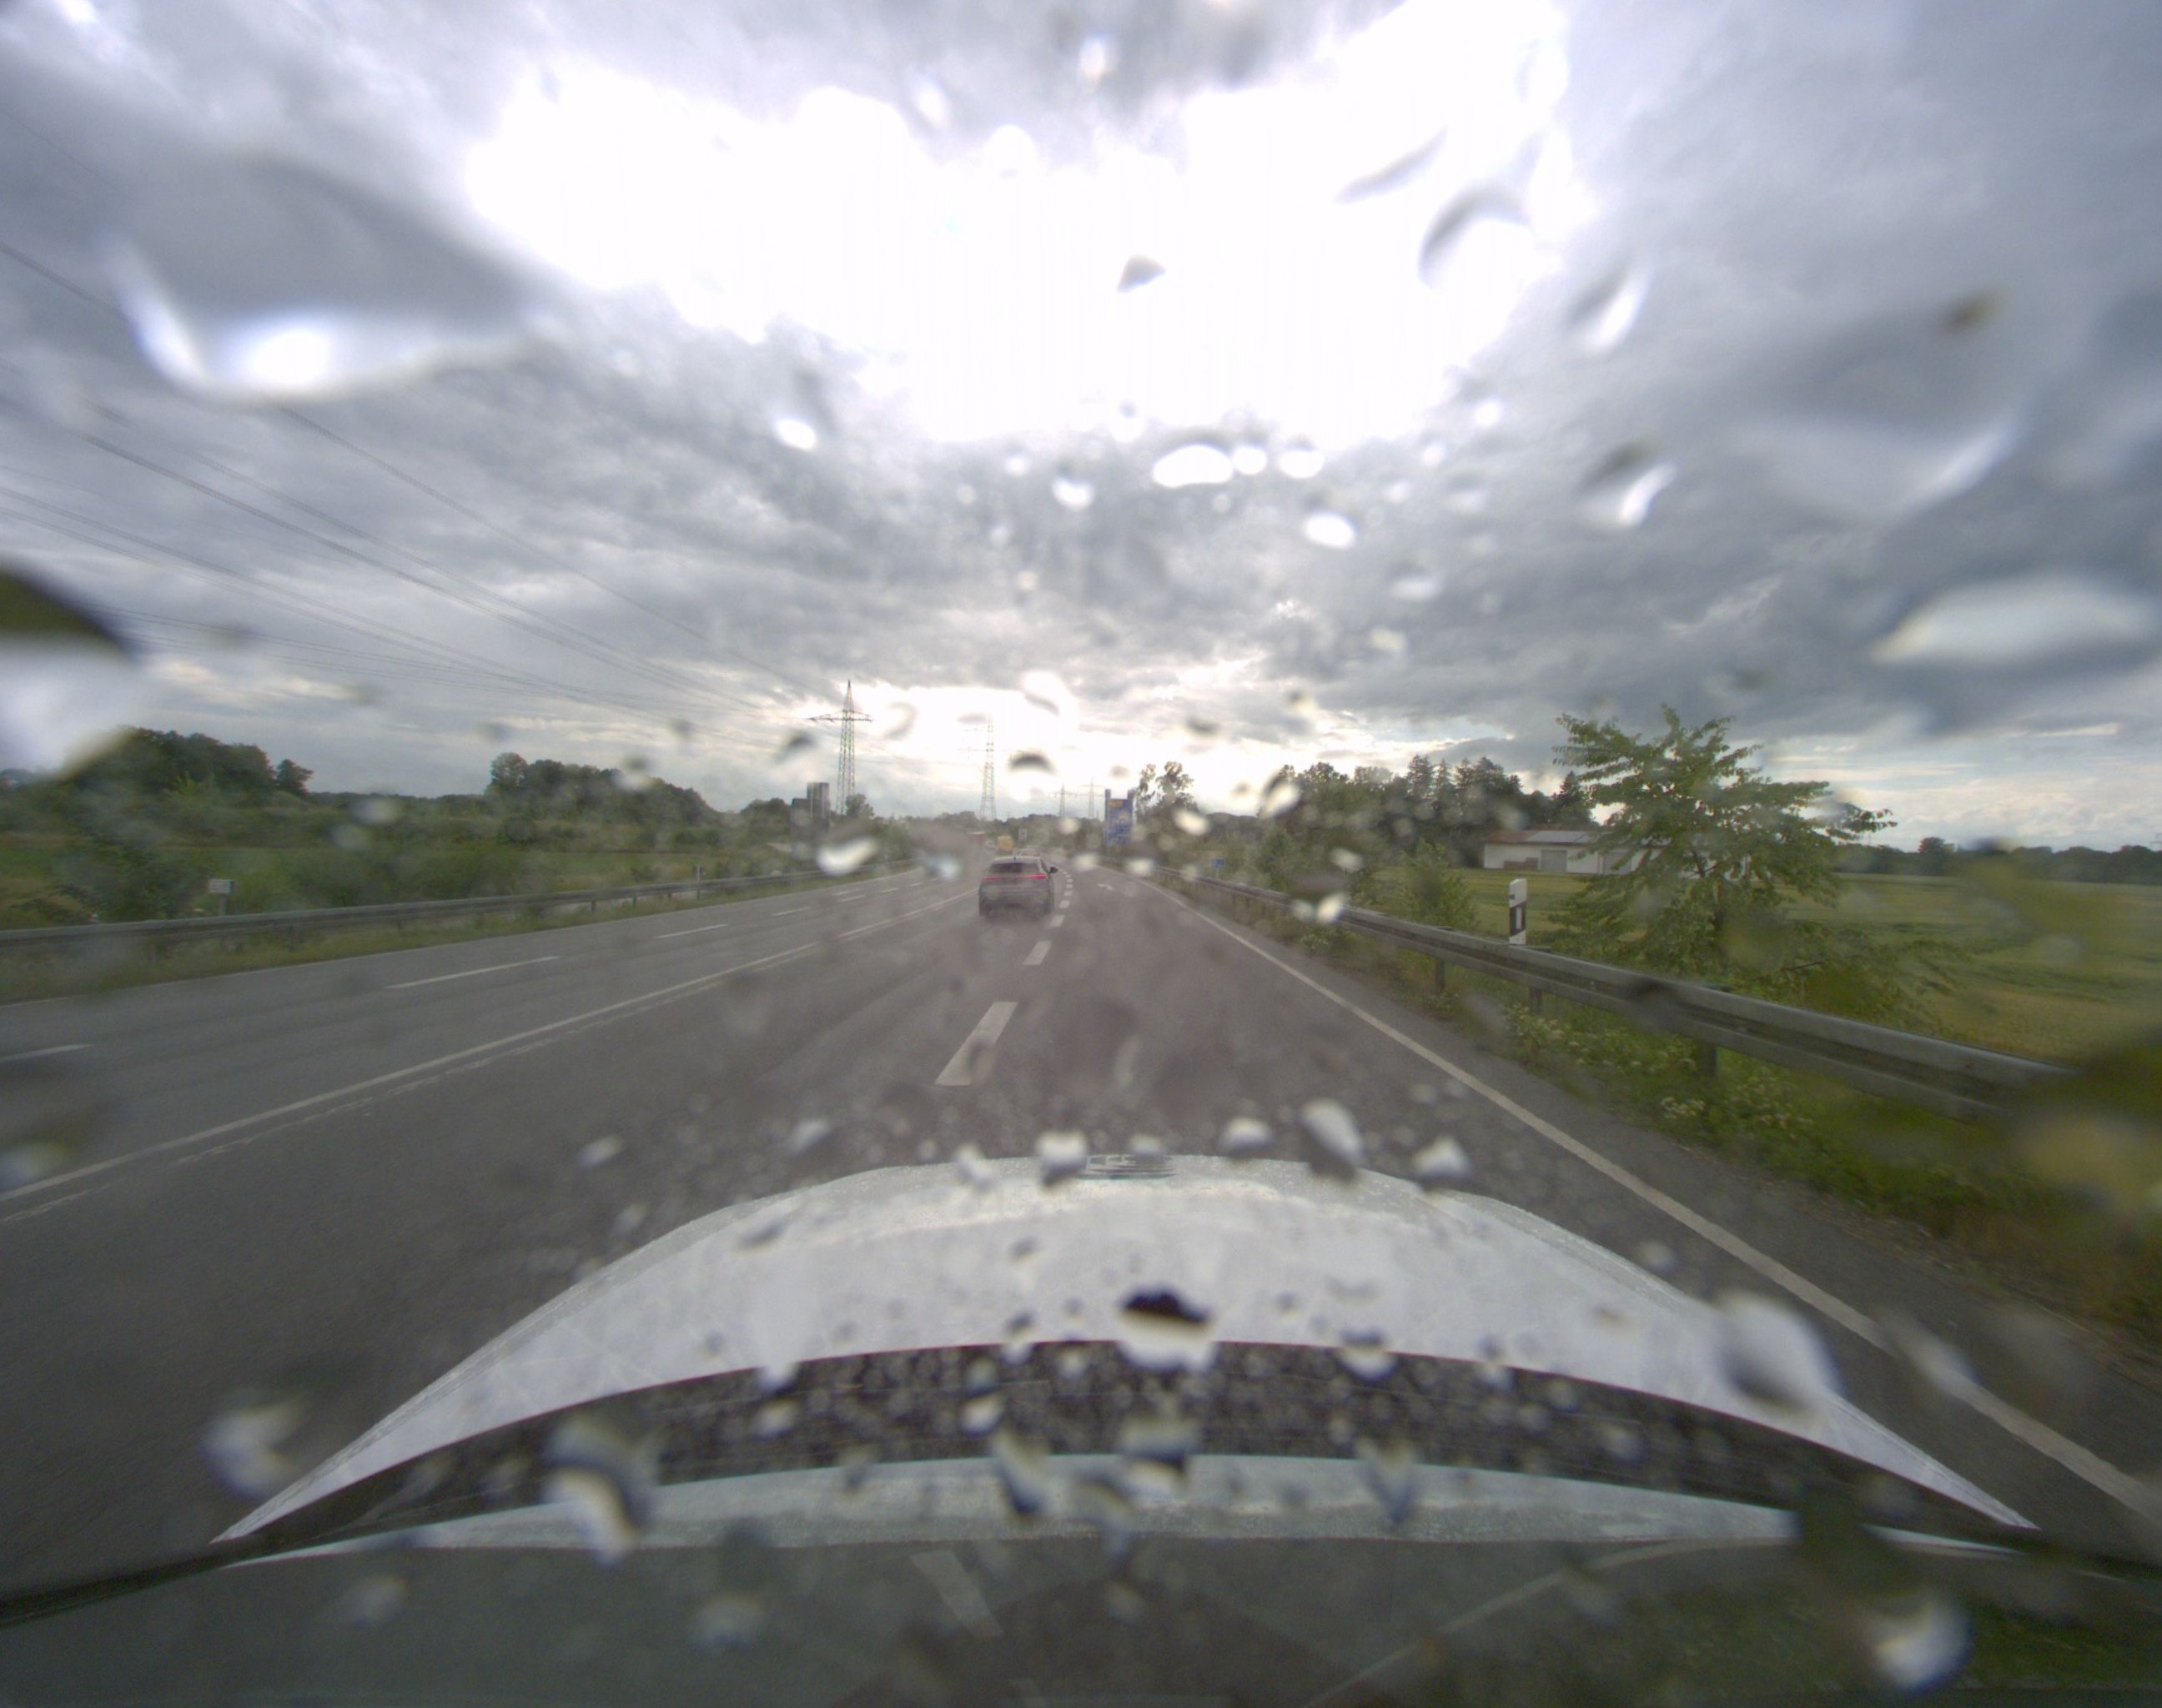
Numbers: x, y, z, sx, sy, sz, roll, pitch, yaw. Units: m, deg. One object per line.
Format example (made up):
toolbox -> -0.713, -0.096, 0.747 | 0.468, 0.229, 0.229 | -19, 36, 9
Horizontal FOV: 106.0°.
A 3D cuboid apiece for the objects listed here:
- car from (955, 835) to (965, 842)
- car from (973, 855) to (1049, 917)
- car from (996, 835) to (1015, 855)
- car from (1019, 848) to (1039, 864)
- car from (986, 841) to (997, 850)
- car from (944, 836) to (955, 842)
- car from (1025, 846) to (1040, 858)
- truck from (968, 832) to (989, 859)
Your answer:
car -> -29.886, -3.815, 201.405 | 1.804, 1.574, 4.235 | 1, 2, -18
car -> -1.741, 0.770, 21.328 | 1.787, 1.441, 3.996 | -1, 0, -3
car -> -11.047, -1.349, 118.662 | 2.570, 2.725, 7.181 | -3, 1, -6
car -> -4.917, 0.156, 76.710 | 1.788, 1.441, 3.993 | -1, 0, -5
car -> -15.650, -1.512, 142.416 | 1.790, 1.441, 3.990 | -1, 1, -7
car -> -31.121, -3.518, 192.448 | 1.799, 1.441, 3.971 | 3, 0, -22
car -> -6.048, -0.249, 101.586 | 1.788, 1.541, 3.995 | 0, 0, -3
truck -> -13.103, -1.141, 104.863 | 2.478, 3.291, 7.264 | -2, 1, -7
